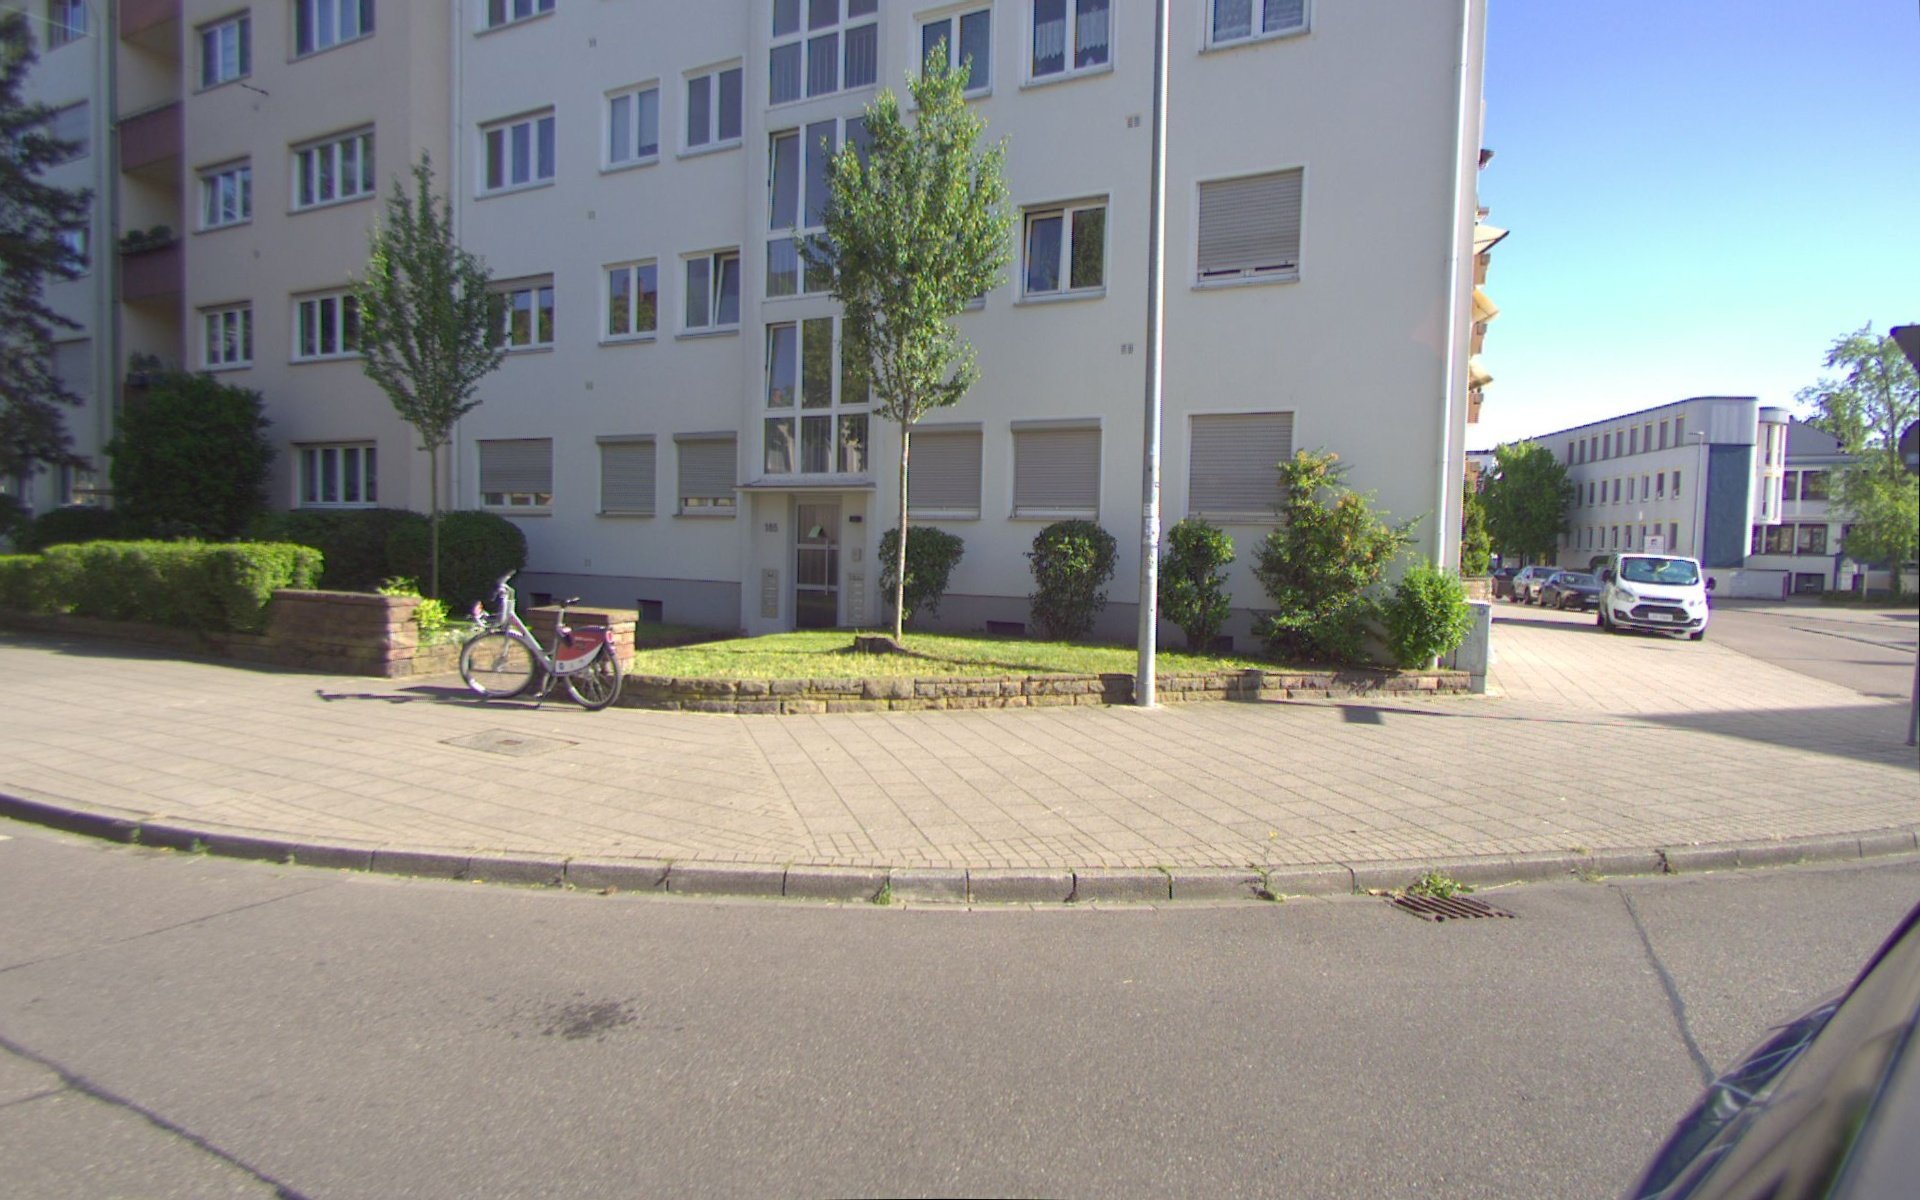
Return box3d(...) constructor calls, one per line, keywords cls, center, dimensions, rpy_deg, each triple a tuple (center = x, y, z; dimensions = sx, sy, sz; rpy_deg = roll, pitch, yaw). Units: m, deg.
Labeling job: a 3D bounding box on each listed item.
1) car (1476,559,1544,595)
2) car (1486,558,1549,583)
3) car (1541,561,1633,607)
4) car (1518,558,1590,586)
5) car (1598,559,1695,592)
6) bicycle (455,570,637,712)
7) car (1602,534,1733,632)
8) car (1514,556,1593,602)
box3d(cls="car", center=(26.500, -1.158, 48.897), dimensions=(1.733, 1.471, 3.985), rpy_deg=(6, 4, 13))
box3d(cls="car", center=(37.665, -2.029, 68.522), dimensions=(2.103, 1.633, 4.828), rpy_deg=(0, 3, 7))
box3d(cls="car", center=(23.236, -0.644, 37.656), dimensions=(1.735, 1.411, 3.982), rpy_deg=(6, 4, 16))
box3d(cls="car", center=(36.953, -1.771, 63.124), dimensions=(2.103, 1.633, 4.828), rpy_deg=(0, 3, 7))
box3d(cls="car", center=(35.676, -1.315, 52.763), dimensions=(2.102, 1.633, 4.830), rpy_deg=(0, 3, 6))
box3d(cls="bicycle", center=(-3.556, 0.319, 8.671), dimensions=(1.606, 1.091, 0.382), rpy_deg=(2, 5, 21))
box3d(cls="car", center=(17.330, -0.478, 25.036), dimensions=(1.984, 2.037, 4.749), rpy_deg=(6, 5, 29))
box3d(cls="car", center=(24.607, -0.934, 42.097), dimensions=(1.735, 1.661, 3.981), rpy_deg=(6, 4, 16))
